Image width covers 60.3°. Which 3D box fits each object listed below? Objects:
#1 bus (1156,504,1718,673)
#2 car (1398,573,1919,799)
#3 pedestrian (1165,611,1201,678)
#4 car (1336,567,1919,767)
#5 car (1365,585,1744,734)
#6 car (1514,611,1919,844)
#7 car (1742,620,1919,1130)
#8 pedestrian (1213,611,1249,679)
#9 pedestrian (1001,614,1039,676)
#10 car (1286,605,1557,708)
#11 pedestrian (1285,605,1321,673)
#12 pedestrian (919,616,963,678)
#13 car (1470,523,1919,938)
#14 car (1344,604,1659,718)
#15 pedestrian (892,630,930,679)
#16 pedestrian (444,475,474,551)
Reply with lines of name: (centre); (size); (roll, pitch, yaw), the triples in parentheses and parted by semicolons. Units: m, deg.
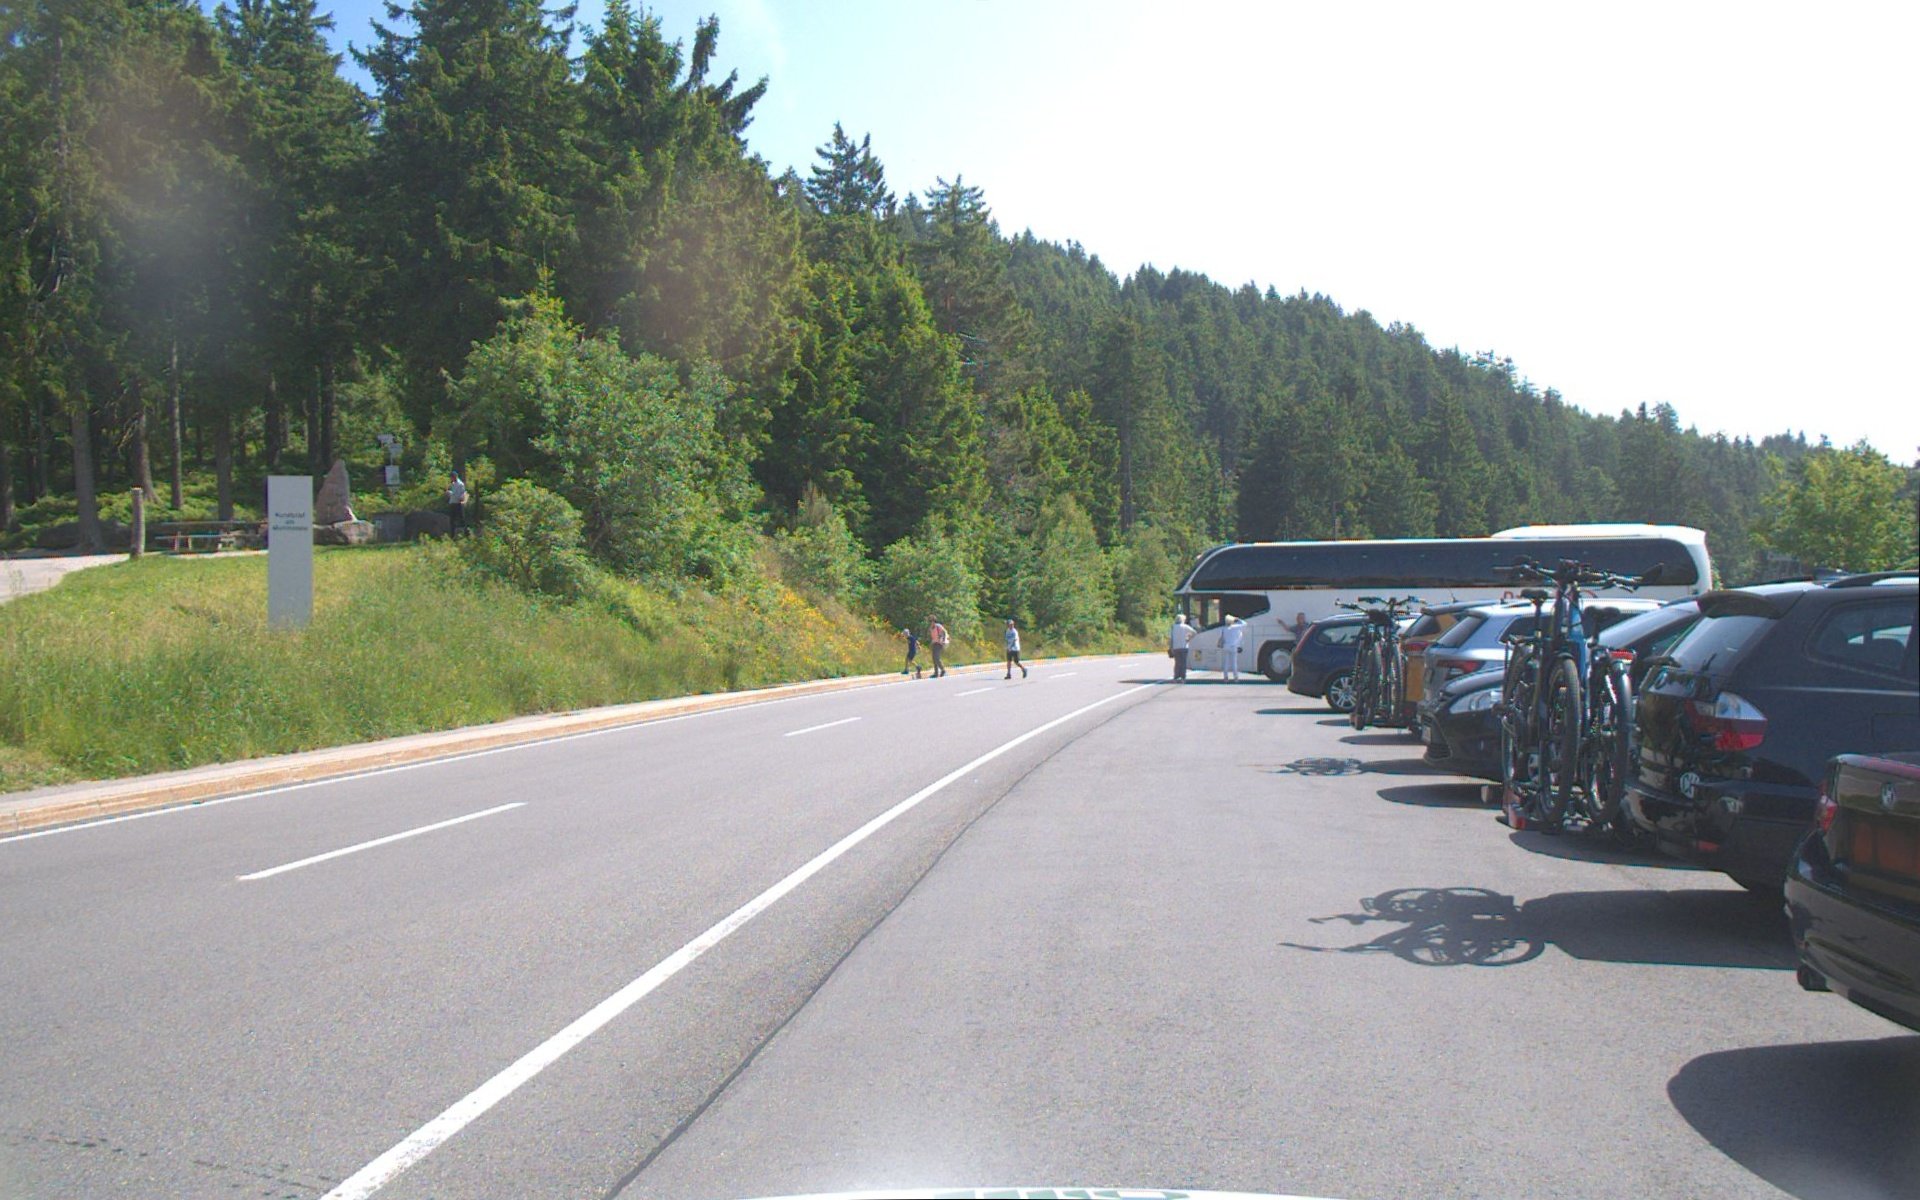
bus: (11.527, -0.181, 41.013); (12.818, 3.594, 3.045); (-2, -1, 18)
car: (5.727, 0.641, 13.062); (4.153, 1.581, 1.839); (-2, -1, 8)
pedestrian: (5.498, 1.102, 40.760); (0.754, 1.613, 0.773); (-2, -1, 15)
car: (6.250, 0.627, 15.921); (4.926, 1.680, 2.049); (-2, -1, 8)
car: (6.874, 0.688, 19.470); (3.902, 1.581, 1.661); (-2, -1, 8)
car: (5.828, 0.733, 10.388); (4.153, 1.291, 1.839); (-2, -1, 8)
car: (4.665, 0.798, 4.788); (3.997, 1.400, 1.703); (1, -1, 2)
pedestrian: (6.616, 1.099, 40.353); (0.754, 1.613, 0.773); (-2, -1, 15)
pedestrian: (1.597, 1.205, 44.442); (0.838, 1.613, 0.816); (-2, -1, -9)
car: (7.238, 0.872, 26.288); (3.902, 1.474, 1.862); (-2, -1, 8)
pedestrian: (8.308, 0.940, 40.034); (0.753, 1.613, 0.773); (-2, -1, 16)
pedestrian: (-0.538, 1.318, 46.737); (0.850, 1.713, 0.855); (-1, -1, -44)
car: (5.032, 0.526, 7.700); (4.843, 1.725, 1.947); (-1, -1, 10)
car: (7.433, 0.834, 23.005); (3.902, 1.423, 1.621); (-2, -1, 8)
pedestrian: (-1.350, 1.507, 45.904); (0.766, 1.302, 0.735); (-2, -1, 29)
pedestrian: (-13.015, -2.254, 42.961); (0.669, 1.910, 0.539); (-2, -1, -16)
